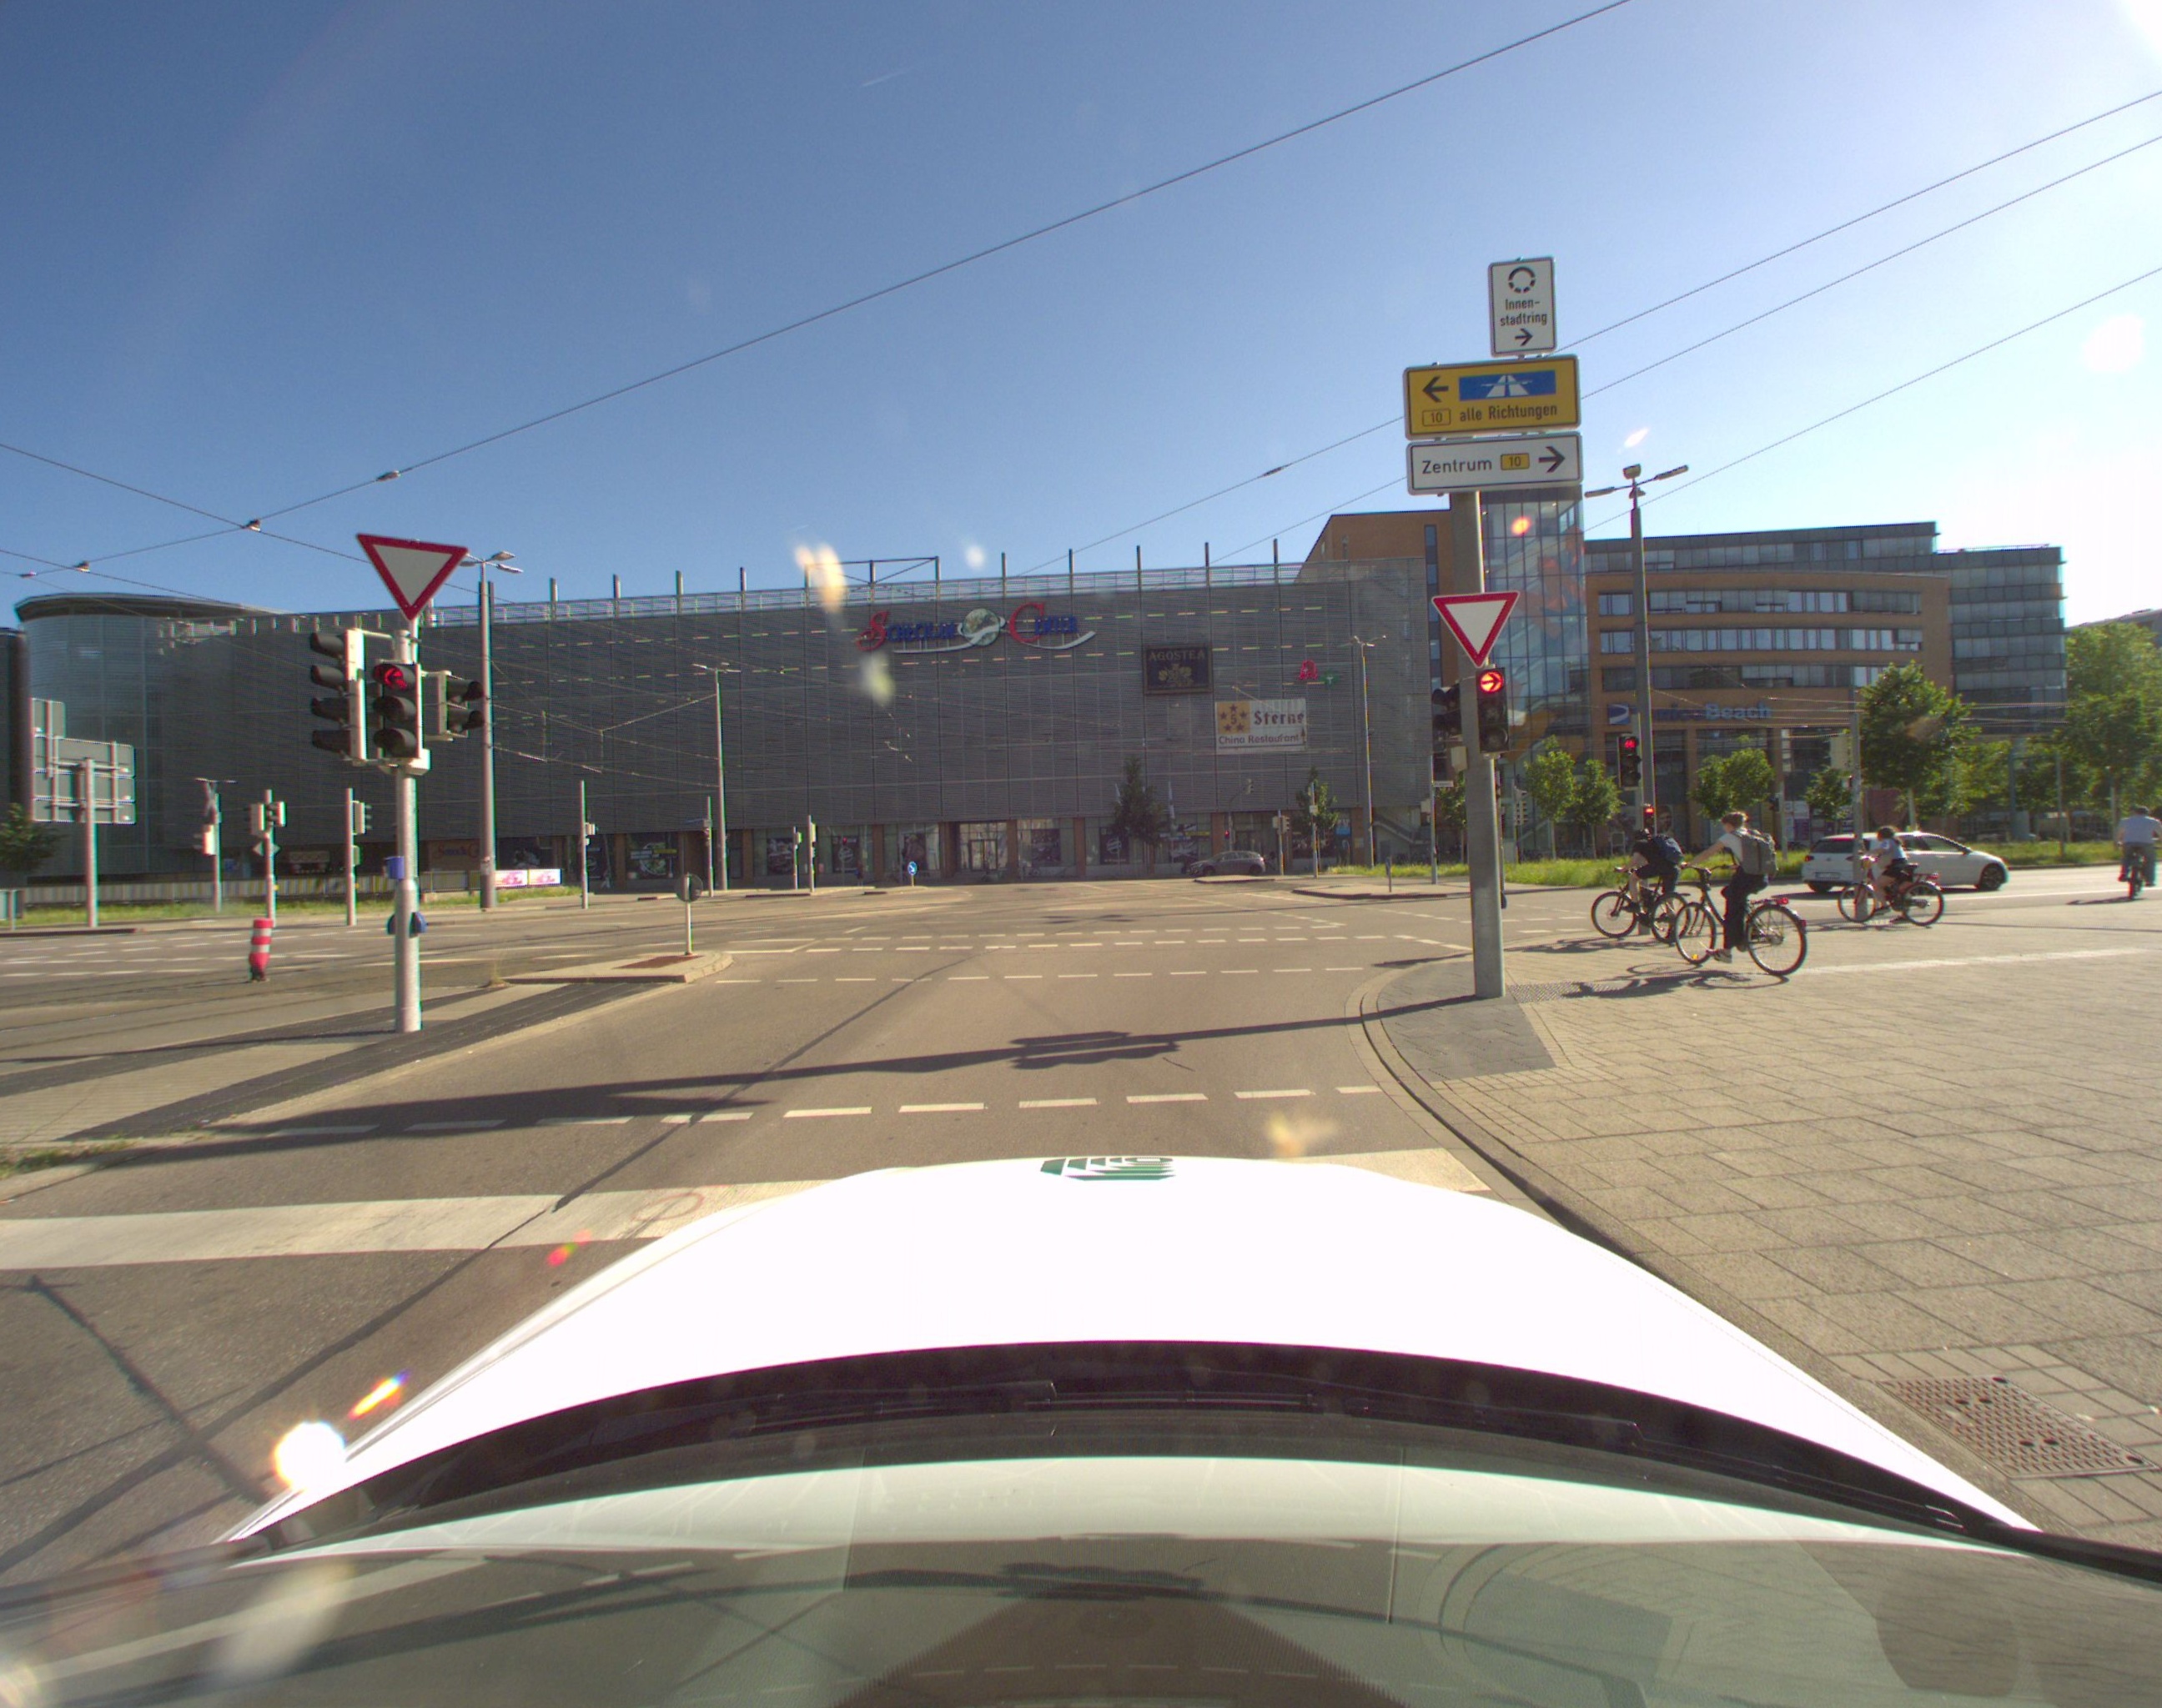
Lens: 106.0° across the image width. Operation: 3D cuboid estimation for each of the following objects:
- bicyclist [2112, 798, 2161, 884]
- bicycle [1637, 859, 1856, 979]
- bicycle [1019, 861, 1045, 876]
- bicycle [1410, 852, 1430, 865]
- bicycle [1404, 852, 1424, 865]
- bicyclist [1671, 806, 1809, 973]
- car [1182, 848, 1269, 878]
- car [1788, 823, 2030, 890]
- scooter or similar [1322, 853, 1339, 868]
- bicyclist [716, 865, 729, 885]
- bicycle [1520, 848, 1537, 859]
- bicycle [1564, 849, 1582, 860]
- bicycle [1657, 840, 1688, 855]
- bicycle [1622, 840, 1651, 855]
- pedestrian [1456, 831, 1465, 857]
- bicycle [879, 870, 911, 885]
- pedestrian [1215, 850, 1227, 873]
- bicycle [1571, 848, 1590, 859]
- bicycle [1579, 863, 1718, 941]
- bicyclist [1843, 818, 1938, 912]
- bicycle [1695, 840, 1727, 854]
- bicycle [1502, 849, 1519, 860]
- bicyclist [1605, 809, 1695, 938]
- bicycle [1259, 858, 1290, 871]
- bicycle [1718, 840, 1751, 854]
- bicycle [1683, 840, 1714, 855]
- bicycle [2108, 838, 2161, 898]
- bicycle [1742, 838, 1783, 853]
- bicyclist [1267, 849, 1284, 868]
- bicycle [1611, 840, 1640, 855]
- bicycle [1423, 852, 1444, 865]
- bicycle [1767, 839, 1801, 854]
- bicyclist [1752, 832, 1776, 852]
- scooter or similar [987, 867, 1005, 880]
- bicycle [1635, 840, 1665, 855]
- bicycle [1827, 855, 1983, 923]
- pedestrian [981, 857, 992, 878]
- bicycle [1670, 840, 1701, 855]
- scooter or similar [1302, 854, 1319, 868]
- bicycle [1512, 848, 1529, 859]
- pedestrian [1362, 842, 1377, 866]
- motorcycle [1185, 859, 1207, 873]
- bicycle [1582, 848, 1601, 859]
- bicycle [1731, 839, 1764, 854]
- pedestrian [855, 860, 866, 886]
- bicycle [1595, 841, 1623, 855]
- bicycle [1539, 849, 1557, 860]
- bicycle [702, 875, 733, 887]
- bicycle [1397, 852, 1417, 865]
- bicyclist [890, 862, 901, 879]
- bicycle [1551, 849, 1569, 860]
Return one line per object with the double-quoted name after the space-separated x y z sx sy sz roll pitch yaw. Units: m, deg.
21.219 -0.279 16.349 1.024 1.669 0.613 -2 1 -37 "bicyclist"
7.025 0.642 8.765 0.692 1.105 2.012 -3 -2 2 "bicycle"
-3.651 1.108 60.828 1.940 1.038 0.572 -2 -1 -3 "bicycle"
25.454 0.316 61.170 0.490 0.954 2.178 -2 1 -3 "bicycle"
24.912 0.318 60.964 0.490 0.954 2.178 -2 1 -3 "bicycle"
7.006 0.357 8.706 0.591 1.654 1.004 -3 -1 2 "bicyclist"
7.965 0.483 45.132 4.294 1.499 1.994 -2 0 -9 "car"
19.553 0.013 19.330 4.273 1.403 1.775 -2 2 -6 "car"
18.878 0.494 61.634 1.196 1.103 0.277 0 -1 4 "scooter or similar"
-26.323 1.544 59.731 0.652 1.410 0.560 -2 -1 0 "bicyclist"
34.196 -0.076 62.217 0.443 0.819 1.449 -2 1 -3 "bicycle"
37.630 -0.001 62.298 0.443 0.819 1.449 -2 1 -3 "bicycle"
47.218 -0.529 65.007 0.749 1.123 2.178 -2 1 -3 "bicycle"
44.400 -0.513 65.121 0.749 1.123 2.178 -2 1 -3 "bicycle"
28.714 -0.751 61.659 0.536 1.915 0.375 -1 -1 9 "pedestrian"
-12.589 1.590 55.248 2.028 0.985 0.554 -2 -1 -31 "bicycle"
9.501 0.501 55.420 0.734 1.487 0.491 -2 -1 11 "pedestrian"
38.204 -0.016 62.300 0.443 0.819 1.449 -2 1 -3 "bicycle"
8.328 0.684 12.067 0.603 1.038 1.893 -3 -2 -3 "bicycle"
12.715 0.170 12.822 0.585 1.404 0.827 -3 -2 1 "bicyclist"
50.201 -0.560 64.958 0.749 1.123 2.178 -2 1 -3 "bicycle"
32.671 0.037 61.945 0.443 0.819 1.449 -2 1 -3 "bicycle"
8.316 0.282 11.934 0.547 1.798 0.905 -3 -2 -3 "bicyclist"
13.850 0.725 58.376 2.034 0.867 0.682 -2 -1 1 "bicycle"
51.980 -0.565 64.822 0.749 1.123 2.178 -2 1 -3 "bicycle"
49.257 -0.544 64.989 0.749 1.123 2.178 -2 1 -3 "bicycle"
21.328 0.248 16.437 2.710 1.069 0.681 -3 1 -37 "bicycle"
51.745 -0.644 61.860 2.550 1.010 0.598 -2 -1 3 "bicycle"
13.925 0.321 58.377 1.032 1.318 0.682 -2 -1 1 "bicyclist"
43.614 -0.505 65.285 0.749 1.123 2.178 -2 1 -3 "bicycle"
26.457 0.309 61.162 0.490 0.954 2.178 -2 1 -3 "bicycle"
56.136 -0.594 65.057 0.749 1.123 2.178 -2 1 -3 "bicycle"
51.858 -0.901 61.842 1.303 1.407 0.594 -2 -1 3 "bicyclist"
-5.892 1.371 56.630 1.219 0.851 0.301 -2 -1 -1 "scooter or similar"
45.175 -0.506 64.631 0.749 1.123 2.178 -2 1 -3 "bicycle"
12.778 0.529 12.710 0.692 0.954 1.708 -3 -2 2 "bicycle"
-7.028 1.019 60.593 0.644 1.519 0.492 -2 -1 6 "pedestrian"
48.222 -0.536 64.971 0.749 1.123 2.178 -2 1 -3 "bicycle"
17.361 0.532 61.511 1.196 1.103 0.277 0 -1 4 "scooter or similar"
33.578 -0.054 62.189 0.443 0.819 1.449 -2 1 -3 "bicycle"
20.573 0.005 58.011 0.776 1.685 0.595 -2 -1 -12 "pedestrian"
8.562 0.903 60.615 1.607 1.038 0.402 -2 -1 2 "motorcycle"
39.123 -0.039 62.420 0.443 0.819 1.449 -2 1 -3 "bicycle"
52.847 -0.573 64.638 0.749 1.123 2.178 -2 1 -3 "bicycle"
-15.056 1.305 55.577 0.625 1.751 0.585 -2 -1 -17 "pedestrian"
42.342 -0.490 65.302 0.749 1.123 2.178 -2 1 -3 "bicycle"
35.498 0.016 61.941 0.443 0.819 1.449 -2 1 -3 "bicycle"
-26.630 2.007 59.716 2.008 0.811 0.560 -2 -1 0 "bicycle"
24.364 0.322 60.916 0.490 0.954 2.178 -2 1 -3 "bicycle"
-12.607 1.123 55.257 0.565 1.139 0.554 -1 -1 -31 "bicyclist"
36.301 0.004 61.697 0.443 0.819 1.449 -2 1 -3 "bicycle"
